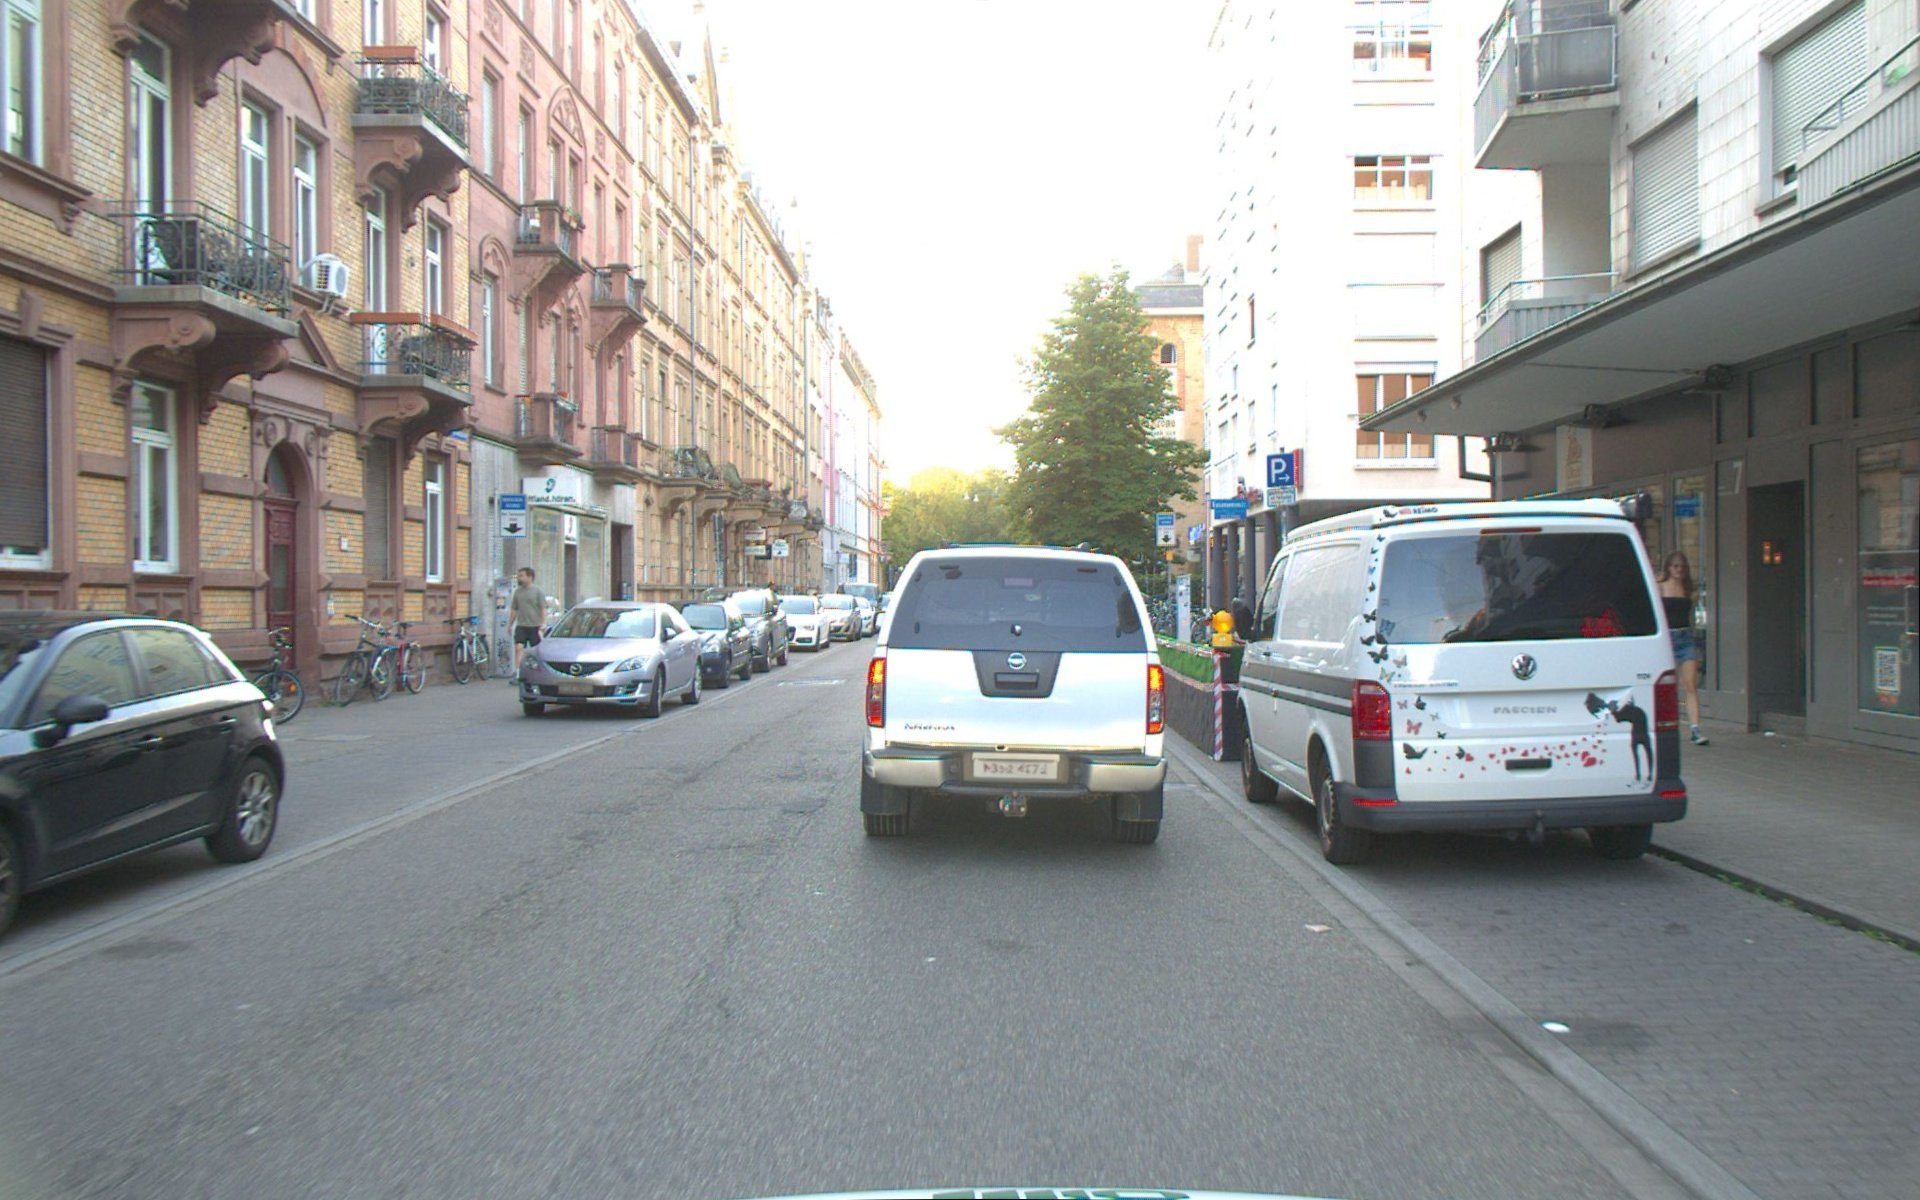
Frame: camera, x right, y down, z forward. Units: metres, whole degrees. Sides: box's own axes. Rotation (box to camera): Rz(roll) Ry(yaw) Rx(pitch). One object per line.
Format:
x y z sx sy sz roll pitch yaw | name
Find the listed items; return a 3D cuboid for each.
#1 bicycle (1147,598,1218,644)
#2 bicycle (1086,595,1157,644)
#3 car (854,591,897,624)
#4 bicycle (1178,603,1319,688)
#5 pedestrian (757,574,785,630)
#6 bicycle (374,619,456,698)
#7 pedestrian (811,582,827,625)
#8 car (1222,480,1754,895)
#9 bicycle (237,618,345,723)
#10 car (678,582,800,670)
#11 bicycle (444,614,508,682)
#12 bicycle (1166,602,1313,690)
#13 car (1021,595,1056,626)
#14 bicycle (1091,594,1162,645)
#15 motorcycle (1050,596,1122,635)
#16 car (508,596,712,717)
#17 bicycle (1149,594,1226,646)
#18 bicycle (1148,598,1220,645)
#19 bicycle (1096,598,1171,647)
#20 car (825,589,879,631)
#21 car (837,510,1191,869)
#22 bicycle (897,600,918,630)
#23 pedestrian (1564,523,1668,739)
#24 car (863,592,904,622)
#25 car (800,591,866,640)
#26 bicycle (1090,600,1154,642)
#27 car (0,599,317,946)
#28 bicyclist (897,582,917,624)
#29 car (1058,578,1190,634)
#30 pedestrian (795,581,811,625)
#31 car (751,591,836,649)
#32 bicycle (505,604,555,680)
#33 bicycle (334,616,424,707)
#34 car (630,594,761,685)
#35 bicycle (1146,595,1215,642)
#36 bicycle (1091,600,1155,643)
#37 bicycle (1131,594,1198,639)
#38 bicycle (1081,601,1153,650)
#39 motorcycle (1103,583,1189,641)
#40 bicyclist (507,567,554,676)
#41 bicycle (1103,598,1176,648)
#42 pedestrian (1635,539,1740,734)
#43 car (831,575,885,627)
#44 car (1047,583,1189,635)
5.577 0.524 41.567 1.686 1.072 0.654 -3 -1 4 | bicycle
4.389 0.527 44.968 1.830 1.202 0.743 -4 -1 6 | bicycle
-3.853 0.370 76.139 1.701 1.443 4.778 1 -1 0 | car
4.162 0.662 23.945 1.907 1.154 0.654 -3 -1 38 | bicycle
-6.036 0.079 52.948 0.542 1.786 1.023 0 -1 16 | pedestrian
-7.935 0.830 24.160 0.537 1.055 1.760 2 1 1 | bicycle
-6.039 0.129 70.866 0.593 1.803 0.777 2 1 -3 | pedestrian
3.045 0.418 10.807 1.918 2.008 5.003 -2 0 1 | car
-7.852 0.805 19.477 0.724 1.143 1.609 1 0 -5 | bicycle
-4.474 0.479 34.065 1.815 1.662 4.446 1 1 1 | car
-8.079 0.785 27.684 0.440 1.040 1.848 3 0 1 | bicycle
3.872 0.645 23.007 1.907 1.154 0.654 -3 -1 38 | bicycle
4.099 0.534 86.817 1.642 1.453 4.479 -4 0 2 | car
4.441 0.514 44.124 1.750 1.202 0.734 -5 -1 11 | bicycle
3.819 0.471 50.030 2.023 1.097 0.661 -3 0 -15 | motorcycle
-4.583 0.686 22.305 1.687 1.445 4.582 1 0 1 | car
5.476 0.483 39.871 1.692 1.151 0.577 -2 -1 -11 | bicycle
5.530 0.523 40.896 1.686 1.072 0.654 -3 -1 4 | bicycle
4.388 0.572 41.961 1.772 1.137 0.707 -3 -1 -1 | bicycle
-3.978 0.347 61.665 1.747 1.447 4.484 2 0 -1 | car
0.446 0.491 11.525 1.871 1.885 5.272 1 0 3 | car
-2.069 0.583 65.379 0.631 1.100 2.169 -2 0 3 | bicycle
5.883 0.280 14.878 0.693 1.860 0.861 -2 -1 14 | pedestrian
-3.965 0.350 86.224 1.796 1.483 4.207 2 0 1 | car
-4.090 0.482 53.761 1.681 1.483 4.001 1 0 2 | car
4.585 0.599 46.954 1.735 1.040 0.565 -4 -1 4 | bicycle
-4.856 0.741 8.164 1.658 1.445 3.856 0 0 4 | car
-2.089 0.118 65.393 0.631 1.649 0.918 -2 0 3 | bicyclist
5.597 0.196 56.875 4.308 1.676 1.746 -3 0 0 | car
-6.698 0.119 70.568 0.568 1.802 0.997 2 1 -3 | pedestrian
-4.413 0.503 44.418 1.722 1.436 4.509 1 1 1 | car
-7.085 0.685 27.303 0.695 1.217 1.736 0 -1 -12 | bicycle
-7.969 0.823 22.758 0.537 1.143 1.760 2 1 1 | bicycle
-4.505 0.635 28.637 1.552 1.445 3.697 0 1 2 | car
5.696 0.473 42.724 1.686 1.137 0.654 -3 -1 4 | bicycle
4.561 0.598 46.335 1.684 1.049 0.668 -4 -1 4 | bicycle
5.570 0.443 45.100 1.688 1.137 0.653 -3 -1 -2 | bicycle
3.895 0.623 41.178 1.687 1.137 0.707 -3 -1 -1 | bicycle
5.517 0.363 49.102 2.439 1.576 0.824 -3 -1 4 | motorcycle
-7.088 0.355 27.338 0.695 1.760 0.840 0 -1 -12 | bicyclist
4.371 0.552 40.311 1.686 1.137 0.707 -3 -1 4 | bicycle
6.519 0.326 14.860 0.693 1.695 0.745 -2 -1 15 | pedestrian
-4.096 0.029 67.082 1.953 1.957 4.950 2 0 -2 | car
5.138 0.278 54.116 4.337 1.480 1.778 -3 0 -5 | car
